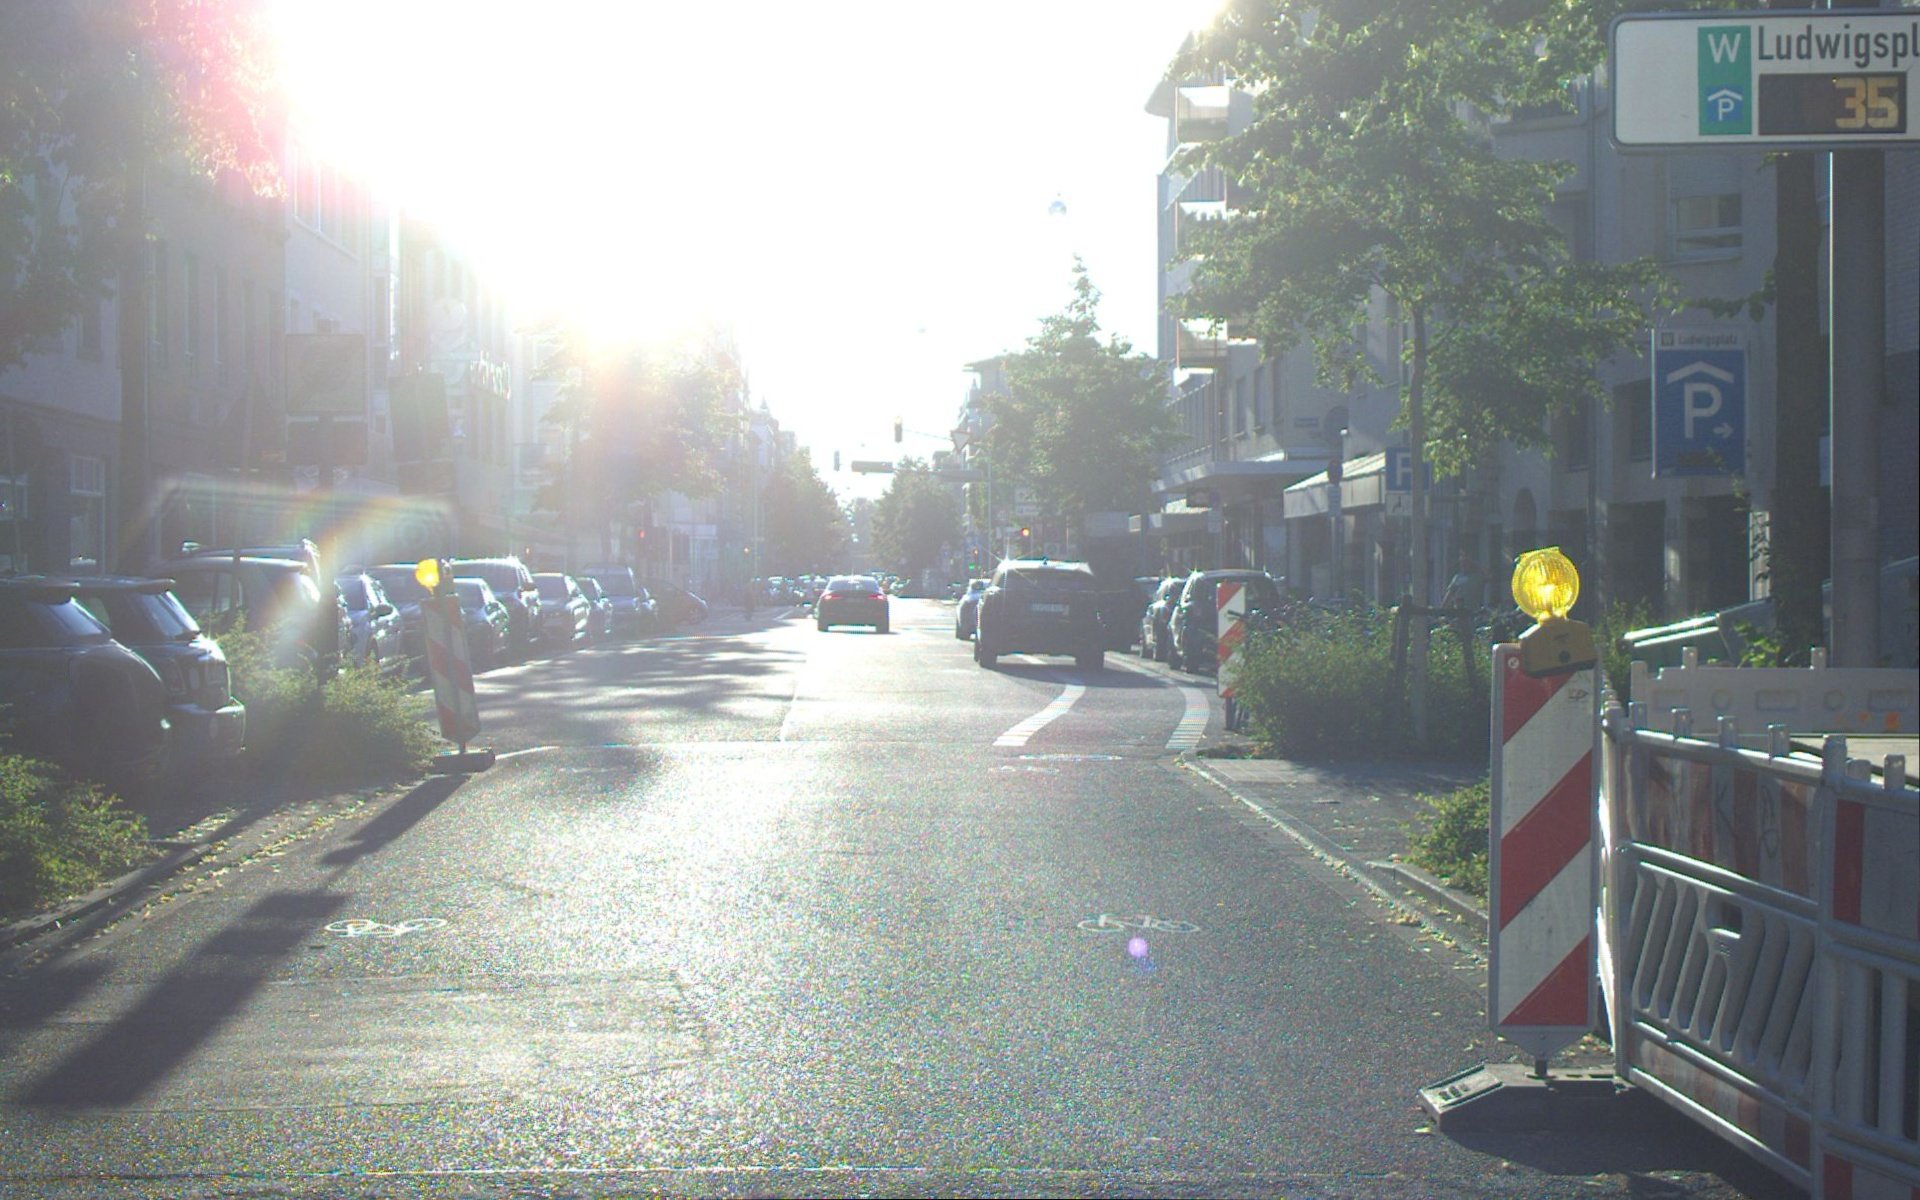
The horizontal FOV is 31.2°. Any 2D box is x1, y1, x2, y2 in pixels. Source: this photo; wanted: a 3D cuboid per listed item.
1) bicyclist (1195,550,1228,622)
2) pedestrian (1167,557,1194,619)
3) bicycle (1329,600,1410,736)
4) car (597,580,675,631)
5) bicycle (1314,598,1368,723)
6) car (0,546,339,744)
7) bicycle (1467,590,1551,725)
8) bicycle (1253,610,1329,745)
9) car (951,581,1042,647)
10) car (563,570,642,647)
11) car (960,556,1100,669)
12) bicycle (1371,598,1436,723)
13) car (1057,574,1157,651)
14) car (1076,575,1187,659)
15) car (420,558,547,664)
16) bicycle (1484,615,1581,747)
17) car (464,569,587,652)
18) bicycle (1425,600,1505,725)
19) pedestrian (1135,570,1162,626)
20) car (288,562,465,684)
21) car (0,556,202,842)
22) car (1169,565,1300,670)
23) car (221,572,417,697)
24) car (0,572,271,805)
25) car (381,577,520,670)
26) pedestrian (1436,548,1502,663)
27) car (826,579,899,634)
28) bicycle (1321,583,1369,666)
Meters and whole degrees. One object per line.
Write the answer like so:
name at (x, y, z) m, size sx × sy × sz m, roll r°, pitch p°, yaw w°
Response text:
bicyclist at (6.029, -0.333, 82.451) m, size 0.650 × 1.696 × 1.095 m, roll 0°, pitch 0°, yaw -3°
pedestrian at (6.121, -0.330, 95.401) m, size 0.688 × 1.716 × 0.716 m, roll -1°, pitch 0°, yaw 5°
bicycle at (3.417, 0.551, 28.770) m, size 0.382 × 1.096 × 1.523 m, roll 0°, pitch 0°, yaw -4°
car at (-8.565, 0.128, 91.153) m, size 1.833 × 1.323 × 4.124 m, roll 0°, pitch 0°, yaw -2°
bicycle at (3.480, 0.537, 31.358) m, size 0.371 × 1.104 × 1.522 m, roll 0°, pitch 0°, yaw 11°
car at (-6.699, 0.355, 28.935) m, size 2.693 × 1.515 × 1.572 m, roll -2°, pitch 1°, yaw -4°
bicycle at (4.966, 0.510, 31.141) m, size 0.381 × 1.185 × 1.523 m, roll 1°, pitch 0°, yaw -5°
bicycle at (2.797, 0.645, 29.130) m, size 0.382 × 1.096 × 1.523 m, roll 0°, pitch 0°, yaw -4°
car at (0.814, 0.306, 78.999) m, size 1.922 × 1.410 × 4.548 m, roll 2°, pitch 0°, yaw -1°
car at (-8.826, 0.212, 85.063) m, size 1.832 × 1.848 × 4.124 m, roll 0°, pitch 0°, yaw -5°
car at (1.063, 0.174, 54.267) m, size 1.995 × 1.649 × 4.674 m, roll 2°, pitch 0°, yaw -1°
bicycle at (4.020, 0.536, 31.186) m, size 0.382 × 1.096 × 1.565 m, roll 0°, pitch 0°, yaw 0°
car at (2.878, 0.232, 67.804) m, size 1.703 × 1.431 × 3.932 m, roll -2°, pitch 0°, yaw -1°
car at (2.972, 0.282, 60.151) m, size 1.633 × 1.419 × 3.758 m, roll -1°, pitch 0°, yaw -2°
car at (-8.704, 0.174, 63.192) m, size 1.827 × 1.804 × 5.349 m, roll -2°, pitch 0°, yaw -3°
bicycle at (4.955, 0.684, 29.799) m, size 0.381 × 1.096 × 1.523 m, roll 0°, pitch 0°, yaw -8°
car at (-8.741, 0.195, 69.481) m, size 1.827 × 1.551 × 5.136 m, roll -2°, pitch 0°, yaw 0°
bicycle at (4.554, 0.554, 31.083) m, size 0.382 × 1.096 × 1.523 m, roll 0°, pitch 0°, yaw -4°
pedestrian at (5.218, -0.048, 95.374) m, size 0.688 × 1.553 × 0.863 m, roll 0°, pitch 0°, yaw -1°
car at (-8.087, 0.292, 47.982) m, size 1.774 × 1.627 × 4.238 m, roll 0°, pitch 0°, yaw 0°
car at (-6.372, 0.504, 19.136) m, size 3.893 × 1.512 × 1.857 m, roll 0°, pitch 0°, yaw 0°
car at (4.217, 0.254, 53.116) m, size 1.632 × 1.548 × 2.695 m, roll -1°, pitch 0°, yaw -4°
car at (-8.072, 0.407, 43.603) m, size 1.774 × 1.510 × 3.950 m, roll 0°, pitch 0°, yaw -1°
car at (-6.207, 0.520, 21.585) m, size 3.396 × 1.387 × 1.686 m, roll 0°, pitch 0°, yaw 1°
car at (-8.401, 0.355, 57.005) m, size 1.713 × 1.435 × 4.310 m, roll -2°, pitch 0°, yaw -1°
pedestrian at (7.451, 0.083, 50.360) m, size 0.810 × 1.641 × 0.606 m, roll -2°, pitch -1°, yaw -1°
car at (-2.563, 0.165, 91.357) m, size 1.883 × 1.410 × 4.325 m, roll 1°, pitch 0°, yaw -1°
bicycle at (5.850, 0.358, 52.290) m, size 0.397 × 1.230 × 1.826 m, roll -1°, pitch 0°, yaw -4°
